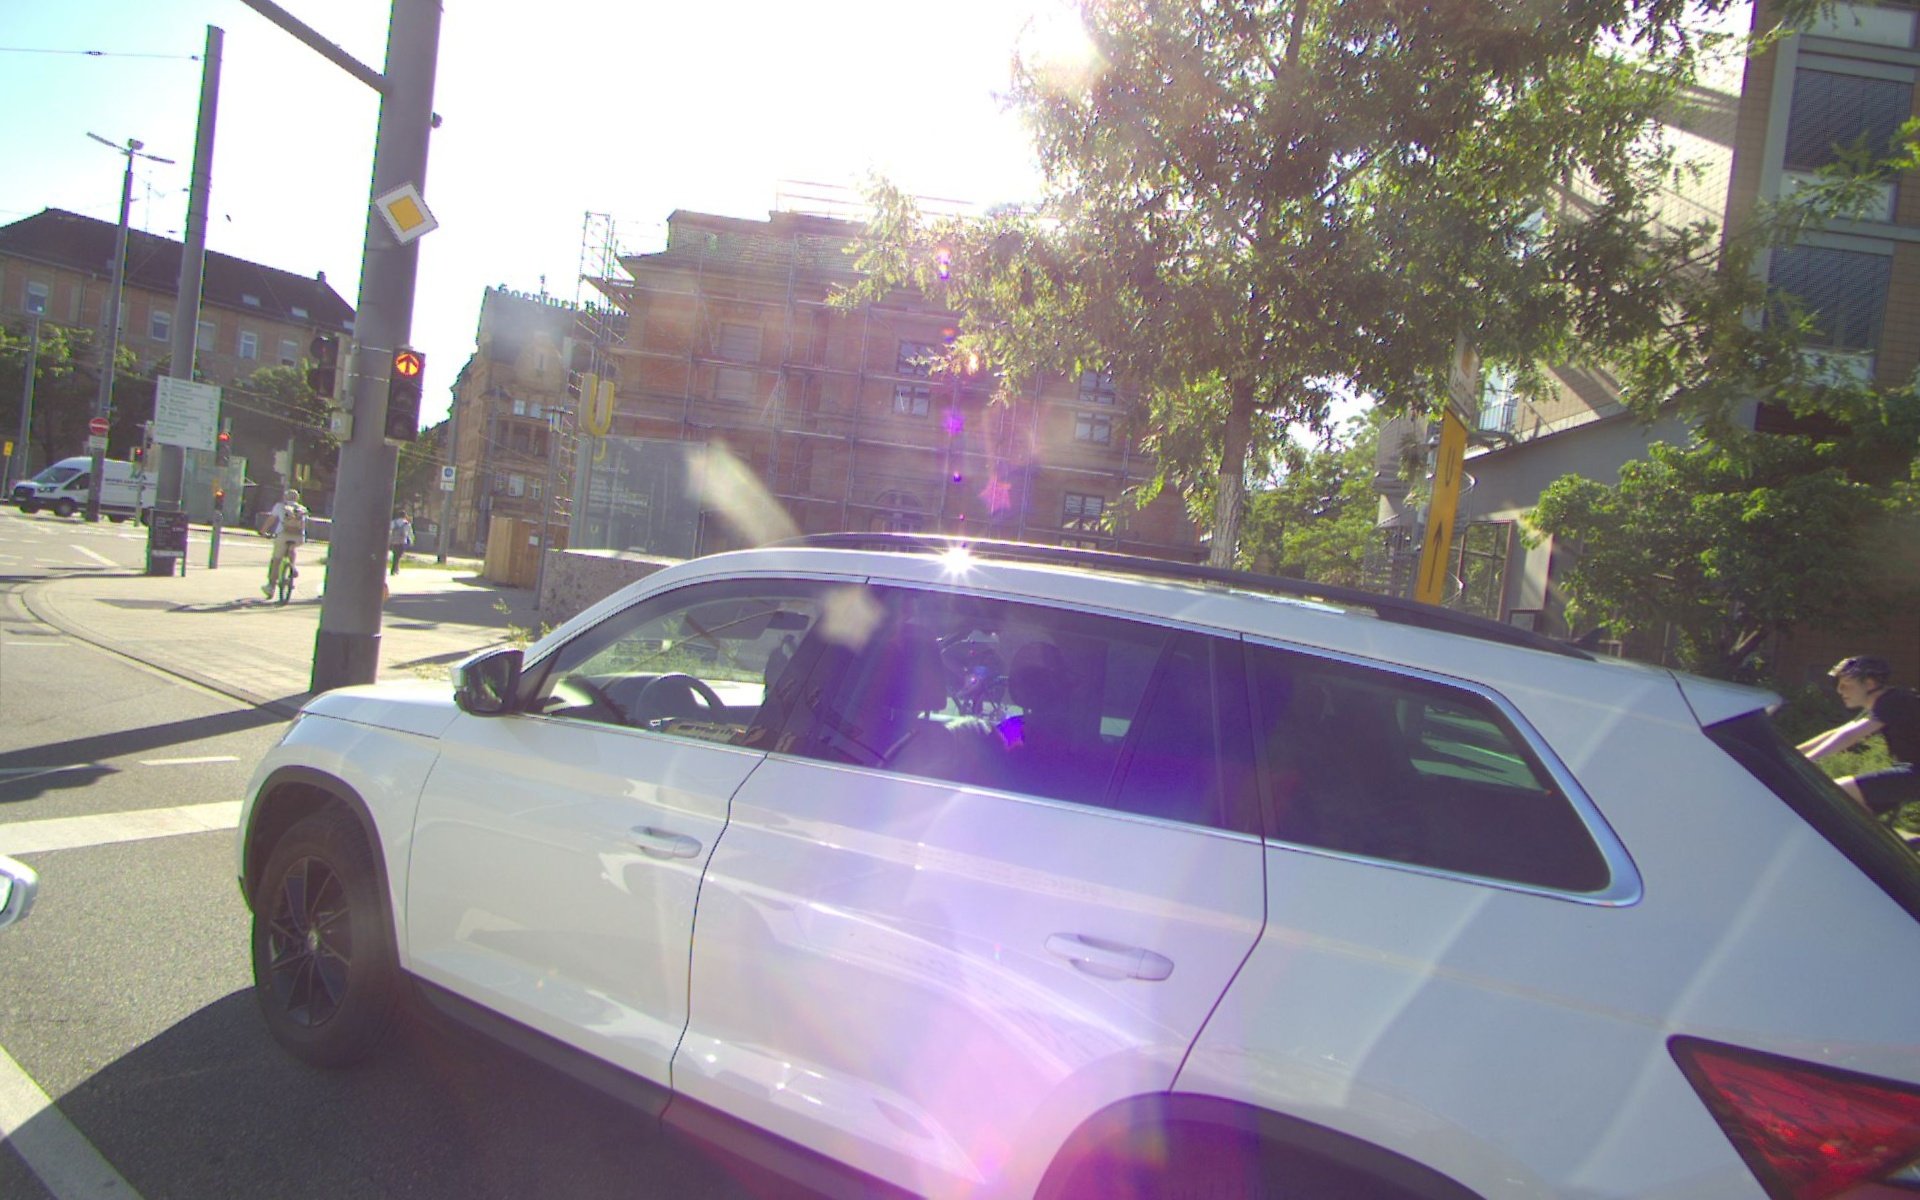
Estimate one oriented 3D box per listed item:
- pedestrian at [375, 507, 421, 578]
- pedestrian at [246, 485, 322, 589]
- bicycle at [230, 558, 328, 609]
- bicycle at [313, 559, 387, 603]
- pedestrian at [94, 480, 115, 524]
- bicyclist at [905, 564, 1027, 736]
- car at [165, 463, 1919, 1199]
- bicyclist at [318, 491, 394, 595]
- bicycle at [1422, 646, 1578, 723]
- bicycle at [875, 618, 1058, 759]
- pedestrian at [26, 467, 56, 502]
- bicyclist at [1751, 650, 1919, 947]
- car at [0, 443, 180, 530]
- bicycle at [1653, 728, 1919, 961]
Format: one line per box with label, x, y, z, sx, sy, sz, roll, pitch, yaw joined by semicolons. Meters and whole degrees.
pedestrian;-15.935;-1.614;28.548;0.887;1.883;0.922;6;1;-23
pedestrian;-11.123;-1.028;16.556;0.843;1.582;0.549;7;1;26
bicycle;-11.270;-0.274;16.636;1.694;0.664;0.537;7;3;25
bicycle;-11.479;-0.361;18.916;1.443;0.664;0.537;7;2;31
pedestrian;-41.647;-4.783;48.955;0.443;2.039;0.462;7;2;14
bicyclist;0.060;0.484;10.146;0.931;1.590;0.571;7;3;33
car;-0.178;0.684;2.807;4.224;1.662;1.697;7;0;30
bicyclist;-11.263;-1.052;18.763;0.908;1.802;0.747;8;2;31
bicycle;12.900;2.006;24.129;3.079;1.395;0.798;7;1;8
bicycle;0.041;0.850;10.144;1.712;1.140;0.571;7;3;33
pedestrian;-47.501;-5.946;51.998;0.746;1.652;0.716;7;1;-12
bicyclist;5.687;1.200;6.215;0.977;1.658;0.626;7;1;27
car;-37.879;-4.848;43.973;2.103;2.778;5.926;7;0;9
bicycle;5.540;1.532;6.277;1.818;1.128;0.626;7;1;27
